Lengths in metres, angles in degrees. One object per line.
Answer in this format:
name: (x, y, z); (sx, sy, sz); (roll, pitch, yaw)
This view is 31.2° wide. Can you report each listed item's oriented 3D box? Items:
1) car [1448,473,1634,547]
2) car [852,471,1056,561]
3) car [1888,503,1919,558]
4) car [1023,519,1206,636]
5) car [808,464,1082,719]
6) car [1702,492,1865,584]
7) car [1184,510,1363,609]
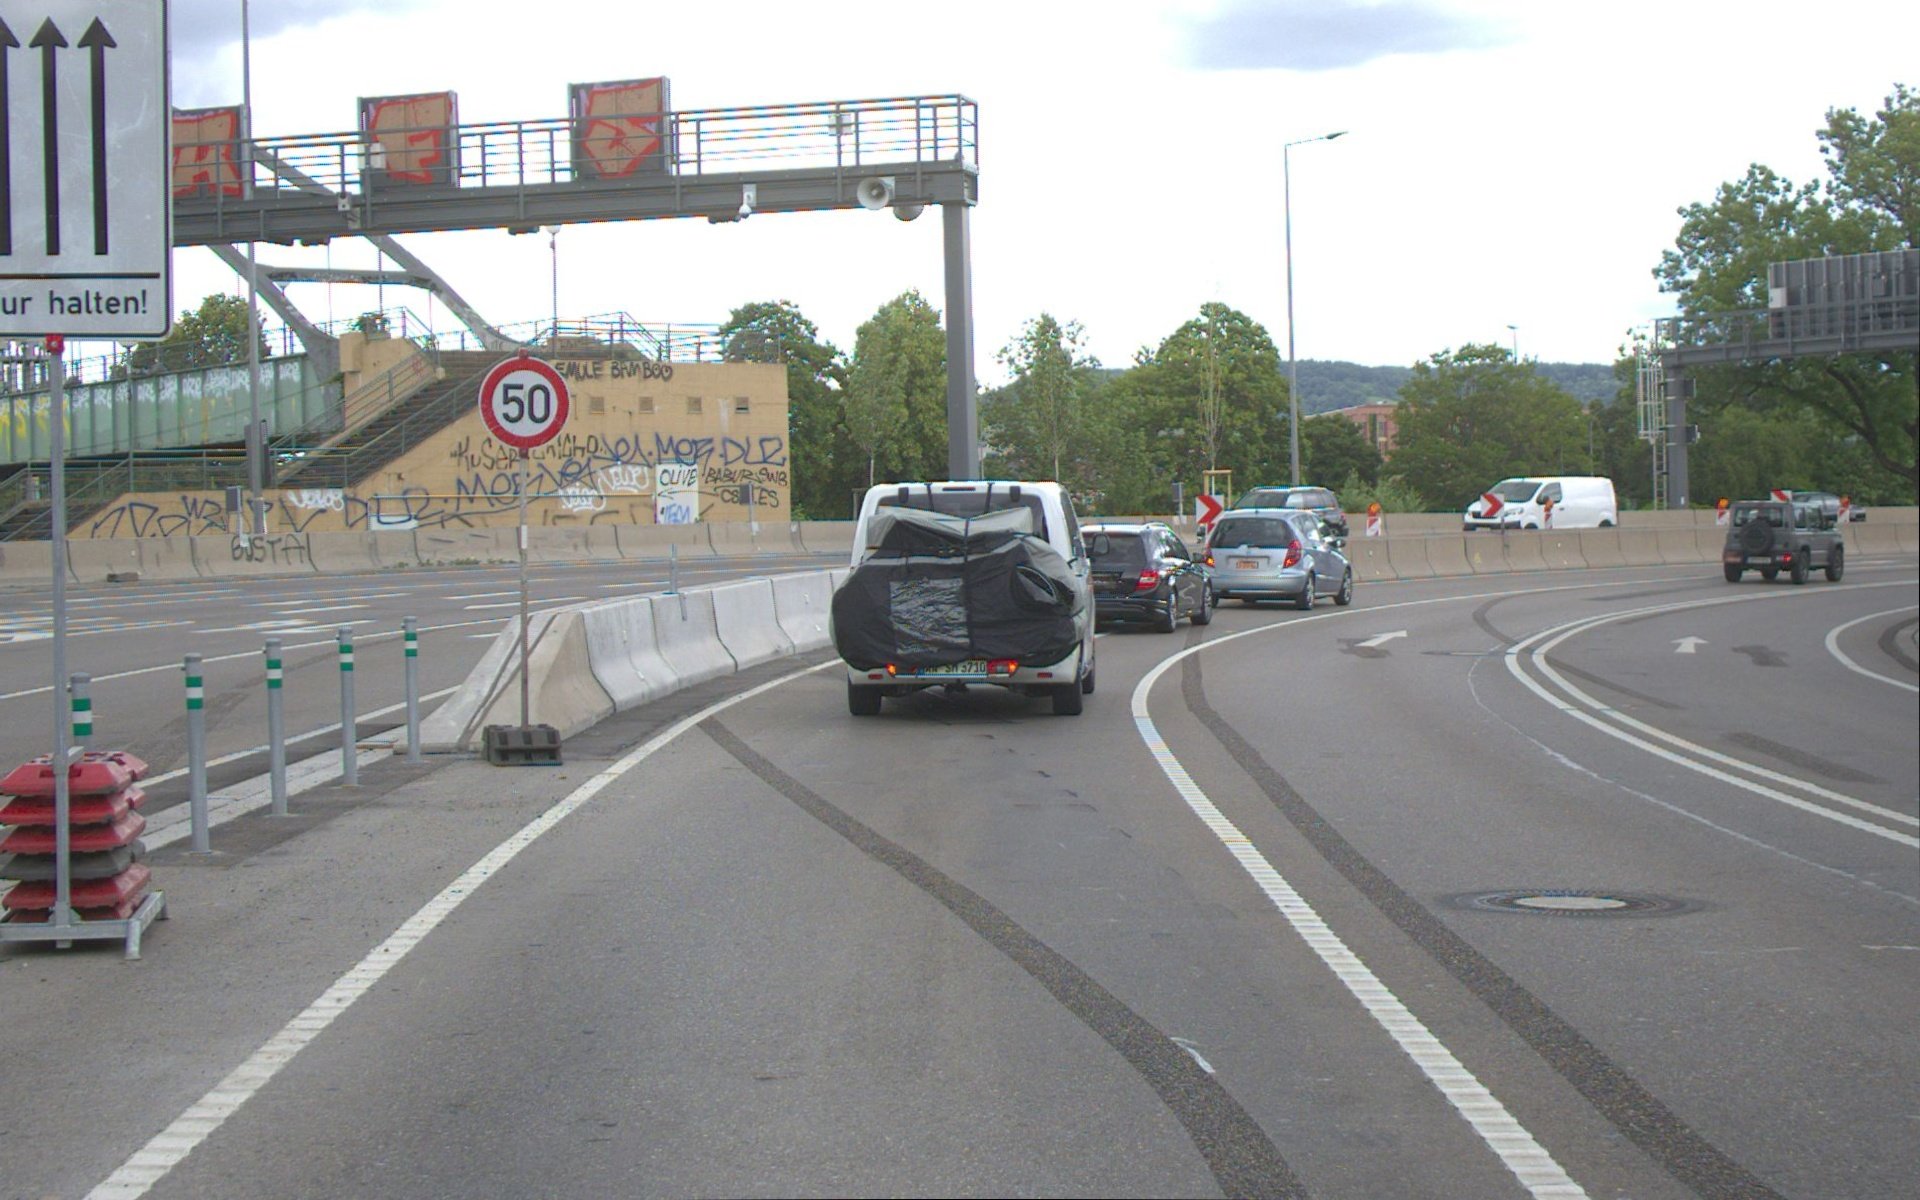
car: (15.691, -2.423, 92.683); (5.090, 1.945, 2.243); (-1, 2, -42)
car: (-0.060, -1.704, 69.997); (1.953, 1.744, 5.267); (0, 1, 27)
car: (30.373, -2.138, 105.194); (1.999, 1.680, 4.248); (1, 2, 45)
car: (2.100, -0.324, 45.599); (1.815, 1.429, 4.063); (-2, 1, 11)
car: (-0.028, -0.095, 28.167); (1.993, 1.853, 5.641); (-1, 1, 2)
car: (17.090, -1.286, 71.242); (1.997, 1.853, 3.992); (0, 1, 34)
car: (5.042, -0.673, 54.857); (1.922, 1.483, 4.062); (0, 2, 19)
